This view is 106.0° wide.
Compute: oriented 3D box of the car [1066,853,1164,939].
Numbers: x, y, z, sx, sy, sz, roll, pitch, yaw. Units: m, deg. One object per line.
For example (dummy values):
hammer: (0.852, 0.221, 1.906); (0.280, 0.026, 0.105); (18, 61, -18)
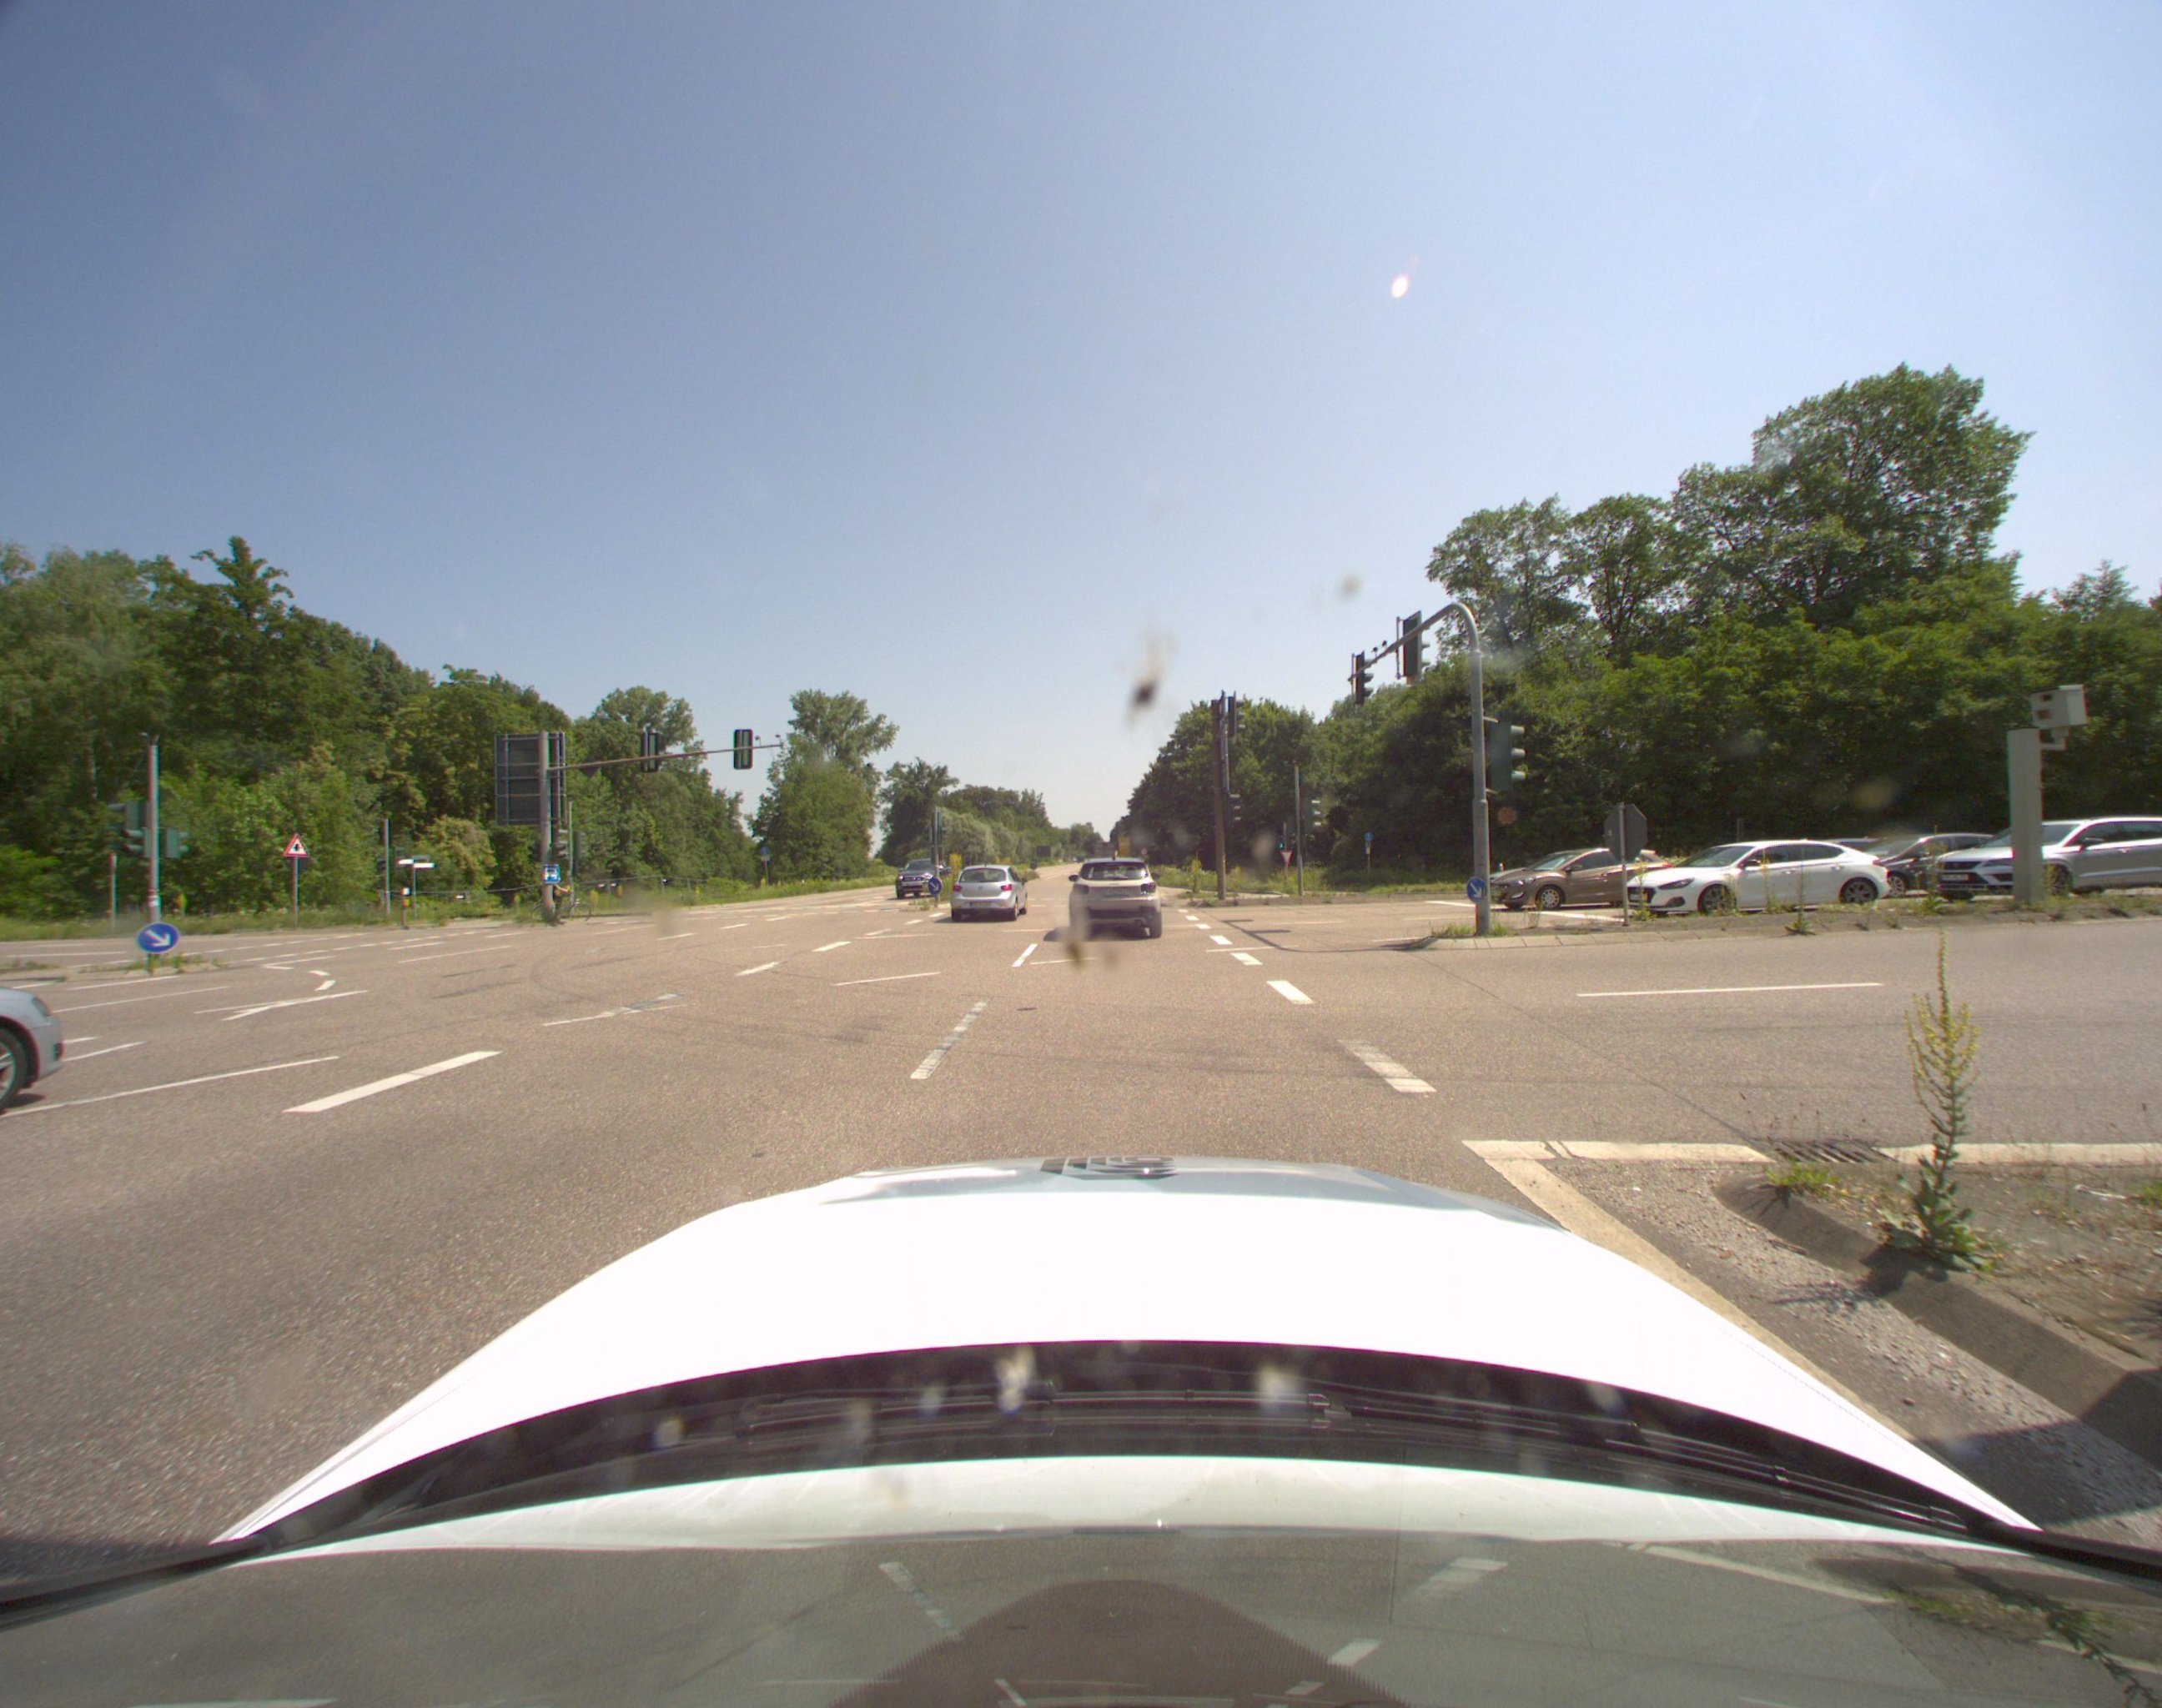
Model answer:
car: (0.721, 0.780, 16.910); (1.760, 1.535, 4.003); (-1, 0, 3)

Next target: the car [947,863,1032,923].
car: (-2.364, 0.974, 21.849); (1.659, 1.430, 3.831); (0, 0, 3)

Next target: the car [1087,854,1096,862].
car: (2.876, 1.092, 225.056); (1.984, 2.013, 4.560); (-2, 0, 5)

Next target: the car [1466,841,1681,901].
car: (14.079, 0.483, 23.525); (4.912, 1.498, 2.021); (-2, -1, 2)

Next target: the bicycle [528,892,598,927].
bicycle: (-17.946, 1.905, 28.259); (0.715, 1.063, 1.881); (-3, -1, 39)

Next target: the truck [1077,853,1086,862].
truck: (0.157, 1.061, 253.769); (2.445, 2.656, 6.495); (-4, 0, 2)

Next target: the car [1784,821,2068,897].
car: (19.806, 0.137, 19.276); (4.403, 1.535, 2.123); (-2, -1, 1)

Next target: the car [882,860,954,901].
car: (-7.612, 1.187, 38.636); (1.985, 1.678, 5.369); (-3, -1, 3)

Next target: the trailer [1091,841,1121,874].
trailer: (3.183, 0.494, 102.070); (3.368, 3.989, 10.814); (0, -1, 4)

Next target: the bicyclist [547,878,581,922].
bicyclist: (-17.932, 1.581, 28.262); (0.914, 1.459, 0.721); (-3, -1, 39)

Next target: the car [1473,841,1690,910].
car: (12.159, 0.503, 19.985); (4.079, 1.447, 1.995); (-2, -1, 0)

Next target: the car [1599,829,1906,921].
car: (13.137, 0.397, 16.165); (4.405, 1.535, 2.000); (-2, -1, 0)

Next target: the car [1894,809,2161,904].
car: (19.312, 0.029, 16.222); (4.156, 1.659, 2.001); (-2, -1, 2)

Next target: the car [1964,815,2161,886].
car: (25.318, -0.121, 19.846); (5.109, 1.534, 2.139); (-3, -1, 2)

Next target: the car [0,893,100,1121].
car: (-7.426, 0.961, 3.522); (1.763, 1.391, 4.005); (0, 0, -7)
